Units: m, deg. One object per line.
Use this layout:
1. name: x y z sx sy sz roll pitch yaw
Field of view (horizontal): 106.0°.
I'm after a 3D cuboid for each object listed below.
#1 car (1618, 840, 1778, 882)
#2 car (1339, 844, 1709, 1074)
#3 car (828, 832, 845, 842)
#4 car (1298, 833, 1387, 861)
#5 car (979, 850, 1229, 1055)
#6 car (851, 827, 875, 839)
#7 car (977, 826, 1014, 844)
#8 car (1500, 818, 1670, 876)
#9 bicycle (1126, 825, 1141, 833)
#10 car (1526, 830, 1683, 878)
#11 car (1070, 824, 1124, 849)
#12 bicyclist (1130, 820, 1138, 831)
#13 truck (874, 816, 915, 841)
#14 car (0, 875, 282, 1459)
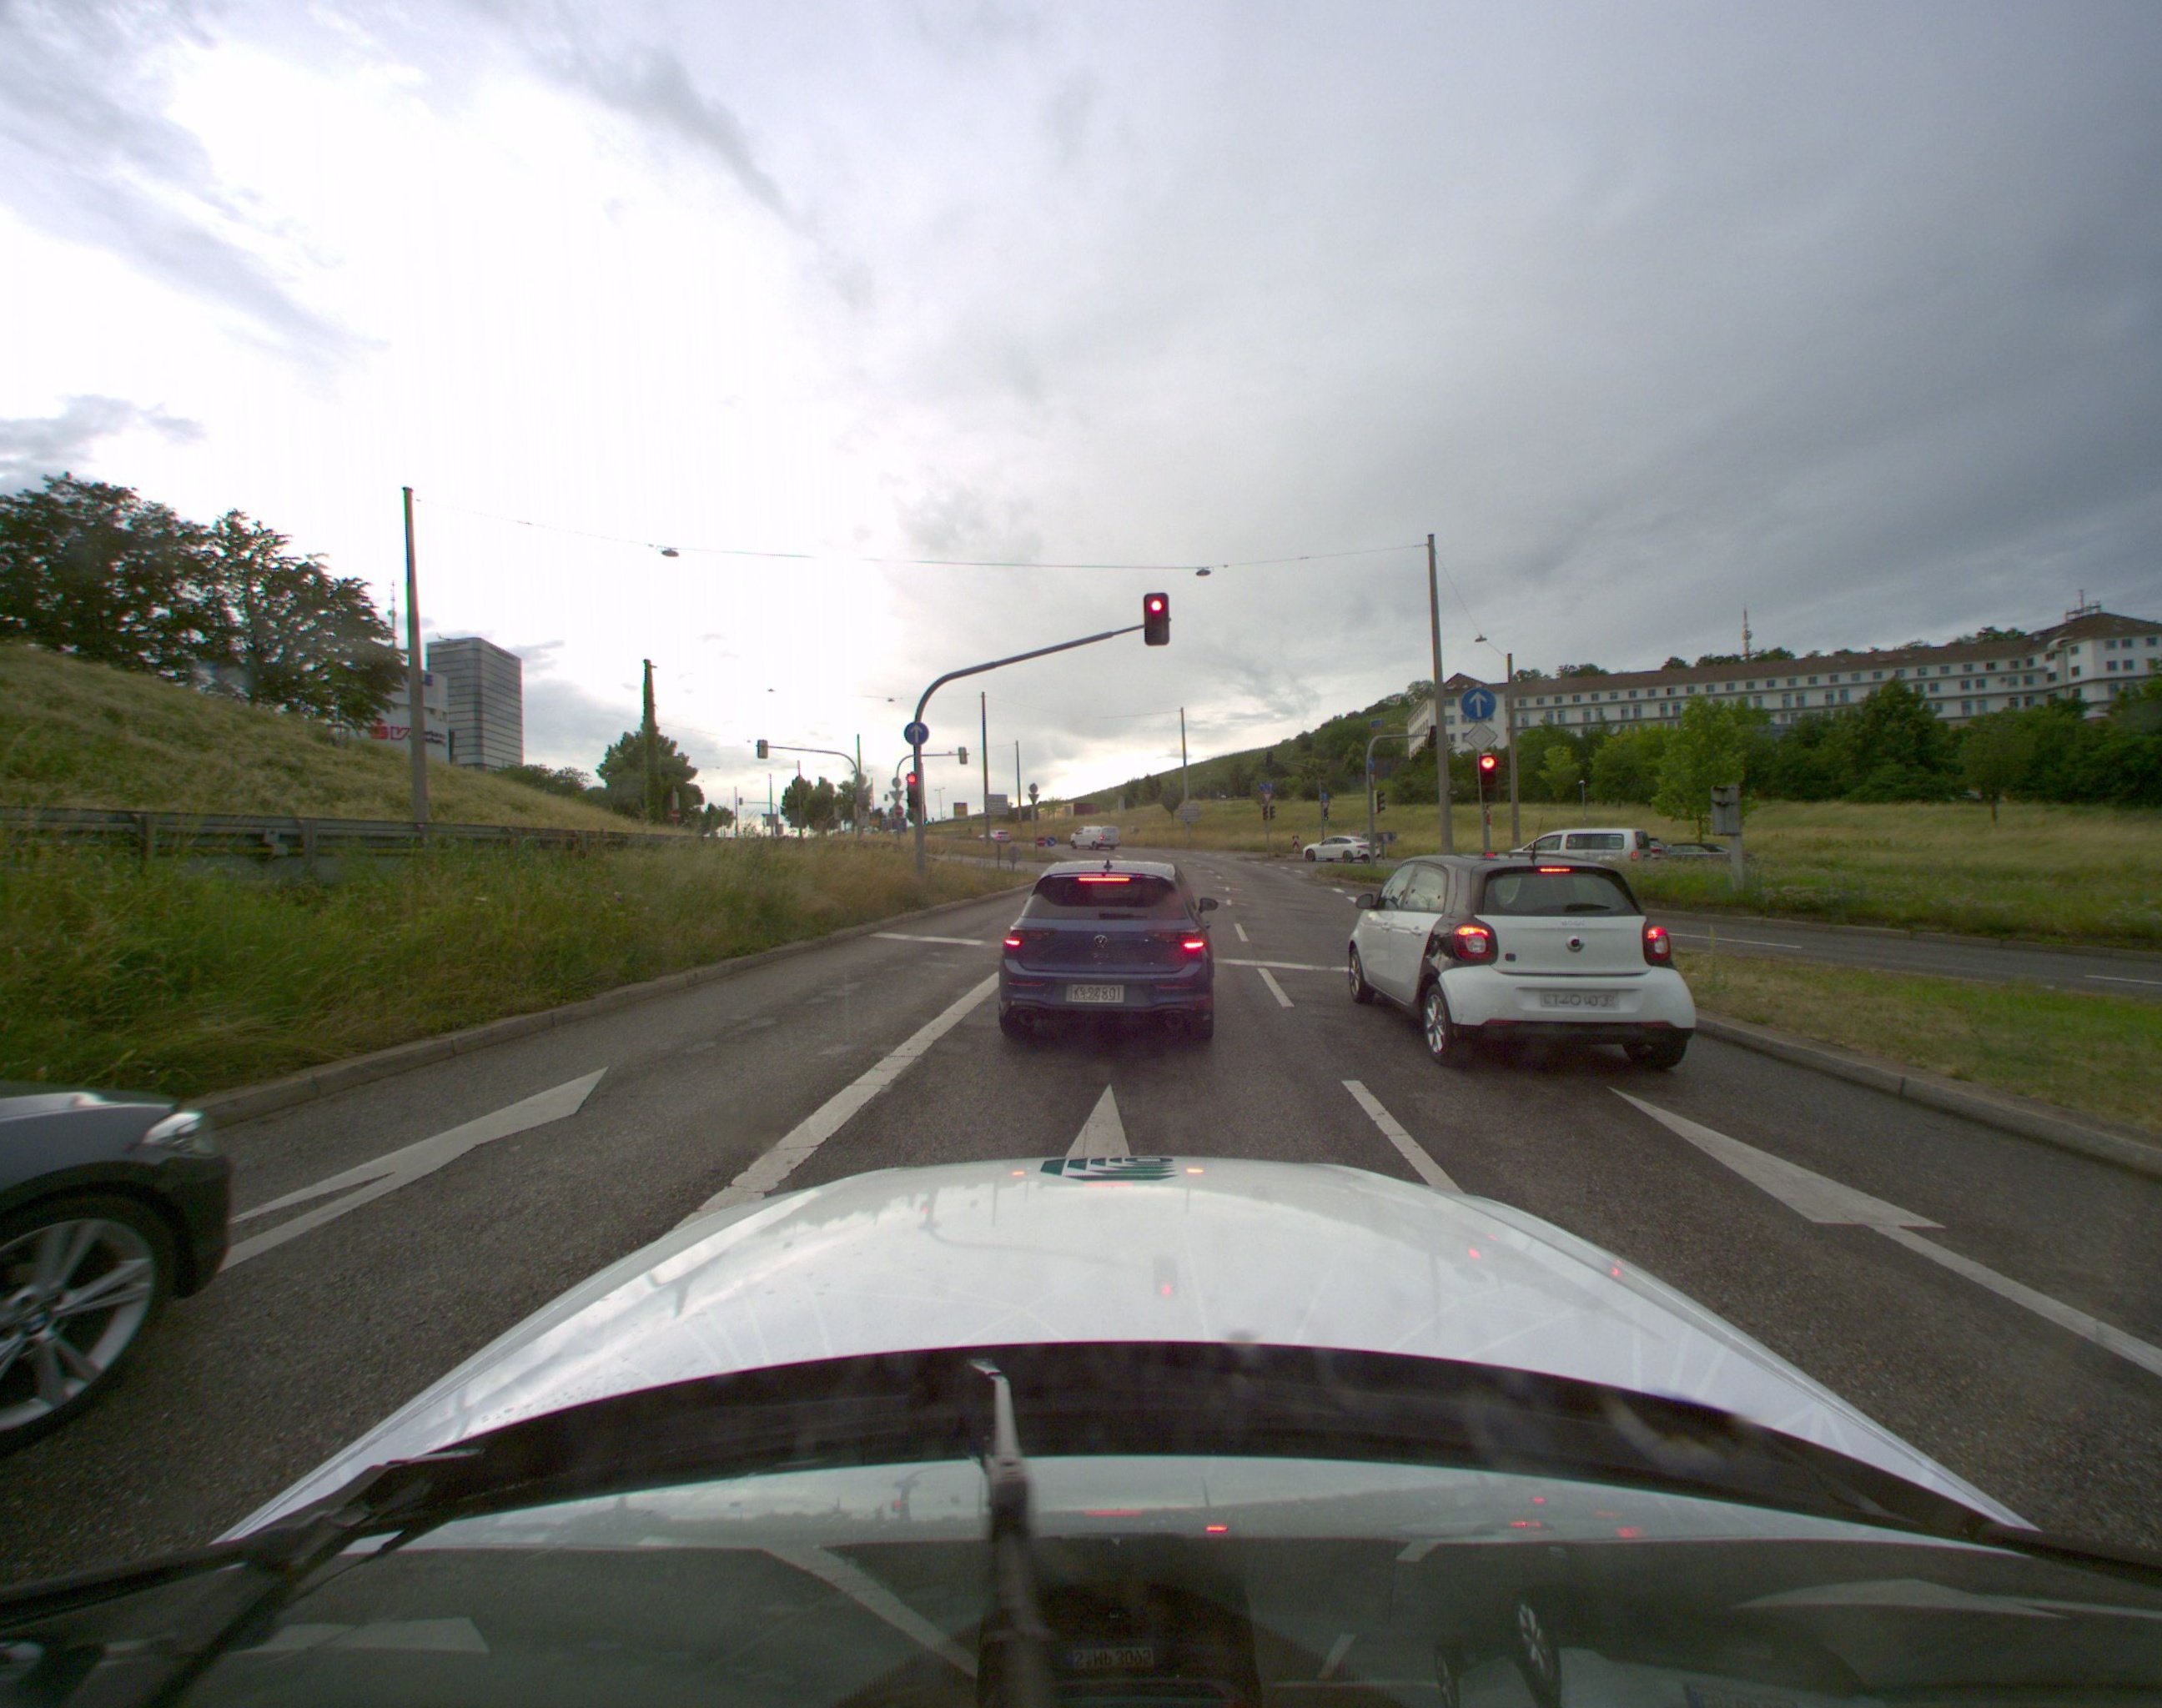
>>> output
1. car: 23.389 0.268 31.049 2.007 1.477 4.456 0 -1 -33
2. car: 3.462 0.711 7.119 1.649 1.503 3.457 -1 -1 6
3. car: -41.606 -2.890 138.572 2.005 1.659 4.502 0 -1 -29
4. car: 14.411 -0.350 45.132 2.008 1.477 4.373 0 -1 -34
5. car: 0.363 0.708 7.852 1.816 1.460 3.815 -1 0 6
6. car: -32.757 -3.101 122.264 2.008 1.659 4.495 0 -1 -35
7. car: -8.779 -1.889 83.182 2.007 1.659 4.498 0 -1 -33
8. car: 17.310 -0.185 28.157 1.831 1.850 4.643 0 -1 -40
9. bicycle: 5.318 -2.578 82.939 0.522 0.775 1.602 2 1 -40
10. car: 19.288 0.027 30.149 2.010 1.620 4.472 0 -1 -39
11. car: 1.248 -1.369 65.861 2.143 1.794 4.694 0 -1 -31
12. bicyclist: 5.398 -2.909 82.856 0.527 1.046 0.574 2 0 -40
13. truck: -24.840 -3.387 108.200 3.281 3.074 6.112 2 0 -34
14. car: -3.615 0.792 0.714 1.696 1.460 4.115 -1 -1 1
